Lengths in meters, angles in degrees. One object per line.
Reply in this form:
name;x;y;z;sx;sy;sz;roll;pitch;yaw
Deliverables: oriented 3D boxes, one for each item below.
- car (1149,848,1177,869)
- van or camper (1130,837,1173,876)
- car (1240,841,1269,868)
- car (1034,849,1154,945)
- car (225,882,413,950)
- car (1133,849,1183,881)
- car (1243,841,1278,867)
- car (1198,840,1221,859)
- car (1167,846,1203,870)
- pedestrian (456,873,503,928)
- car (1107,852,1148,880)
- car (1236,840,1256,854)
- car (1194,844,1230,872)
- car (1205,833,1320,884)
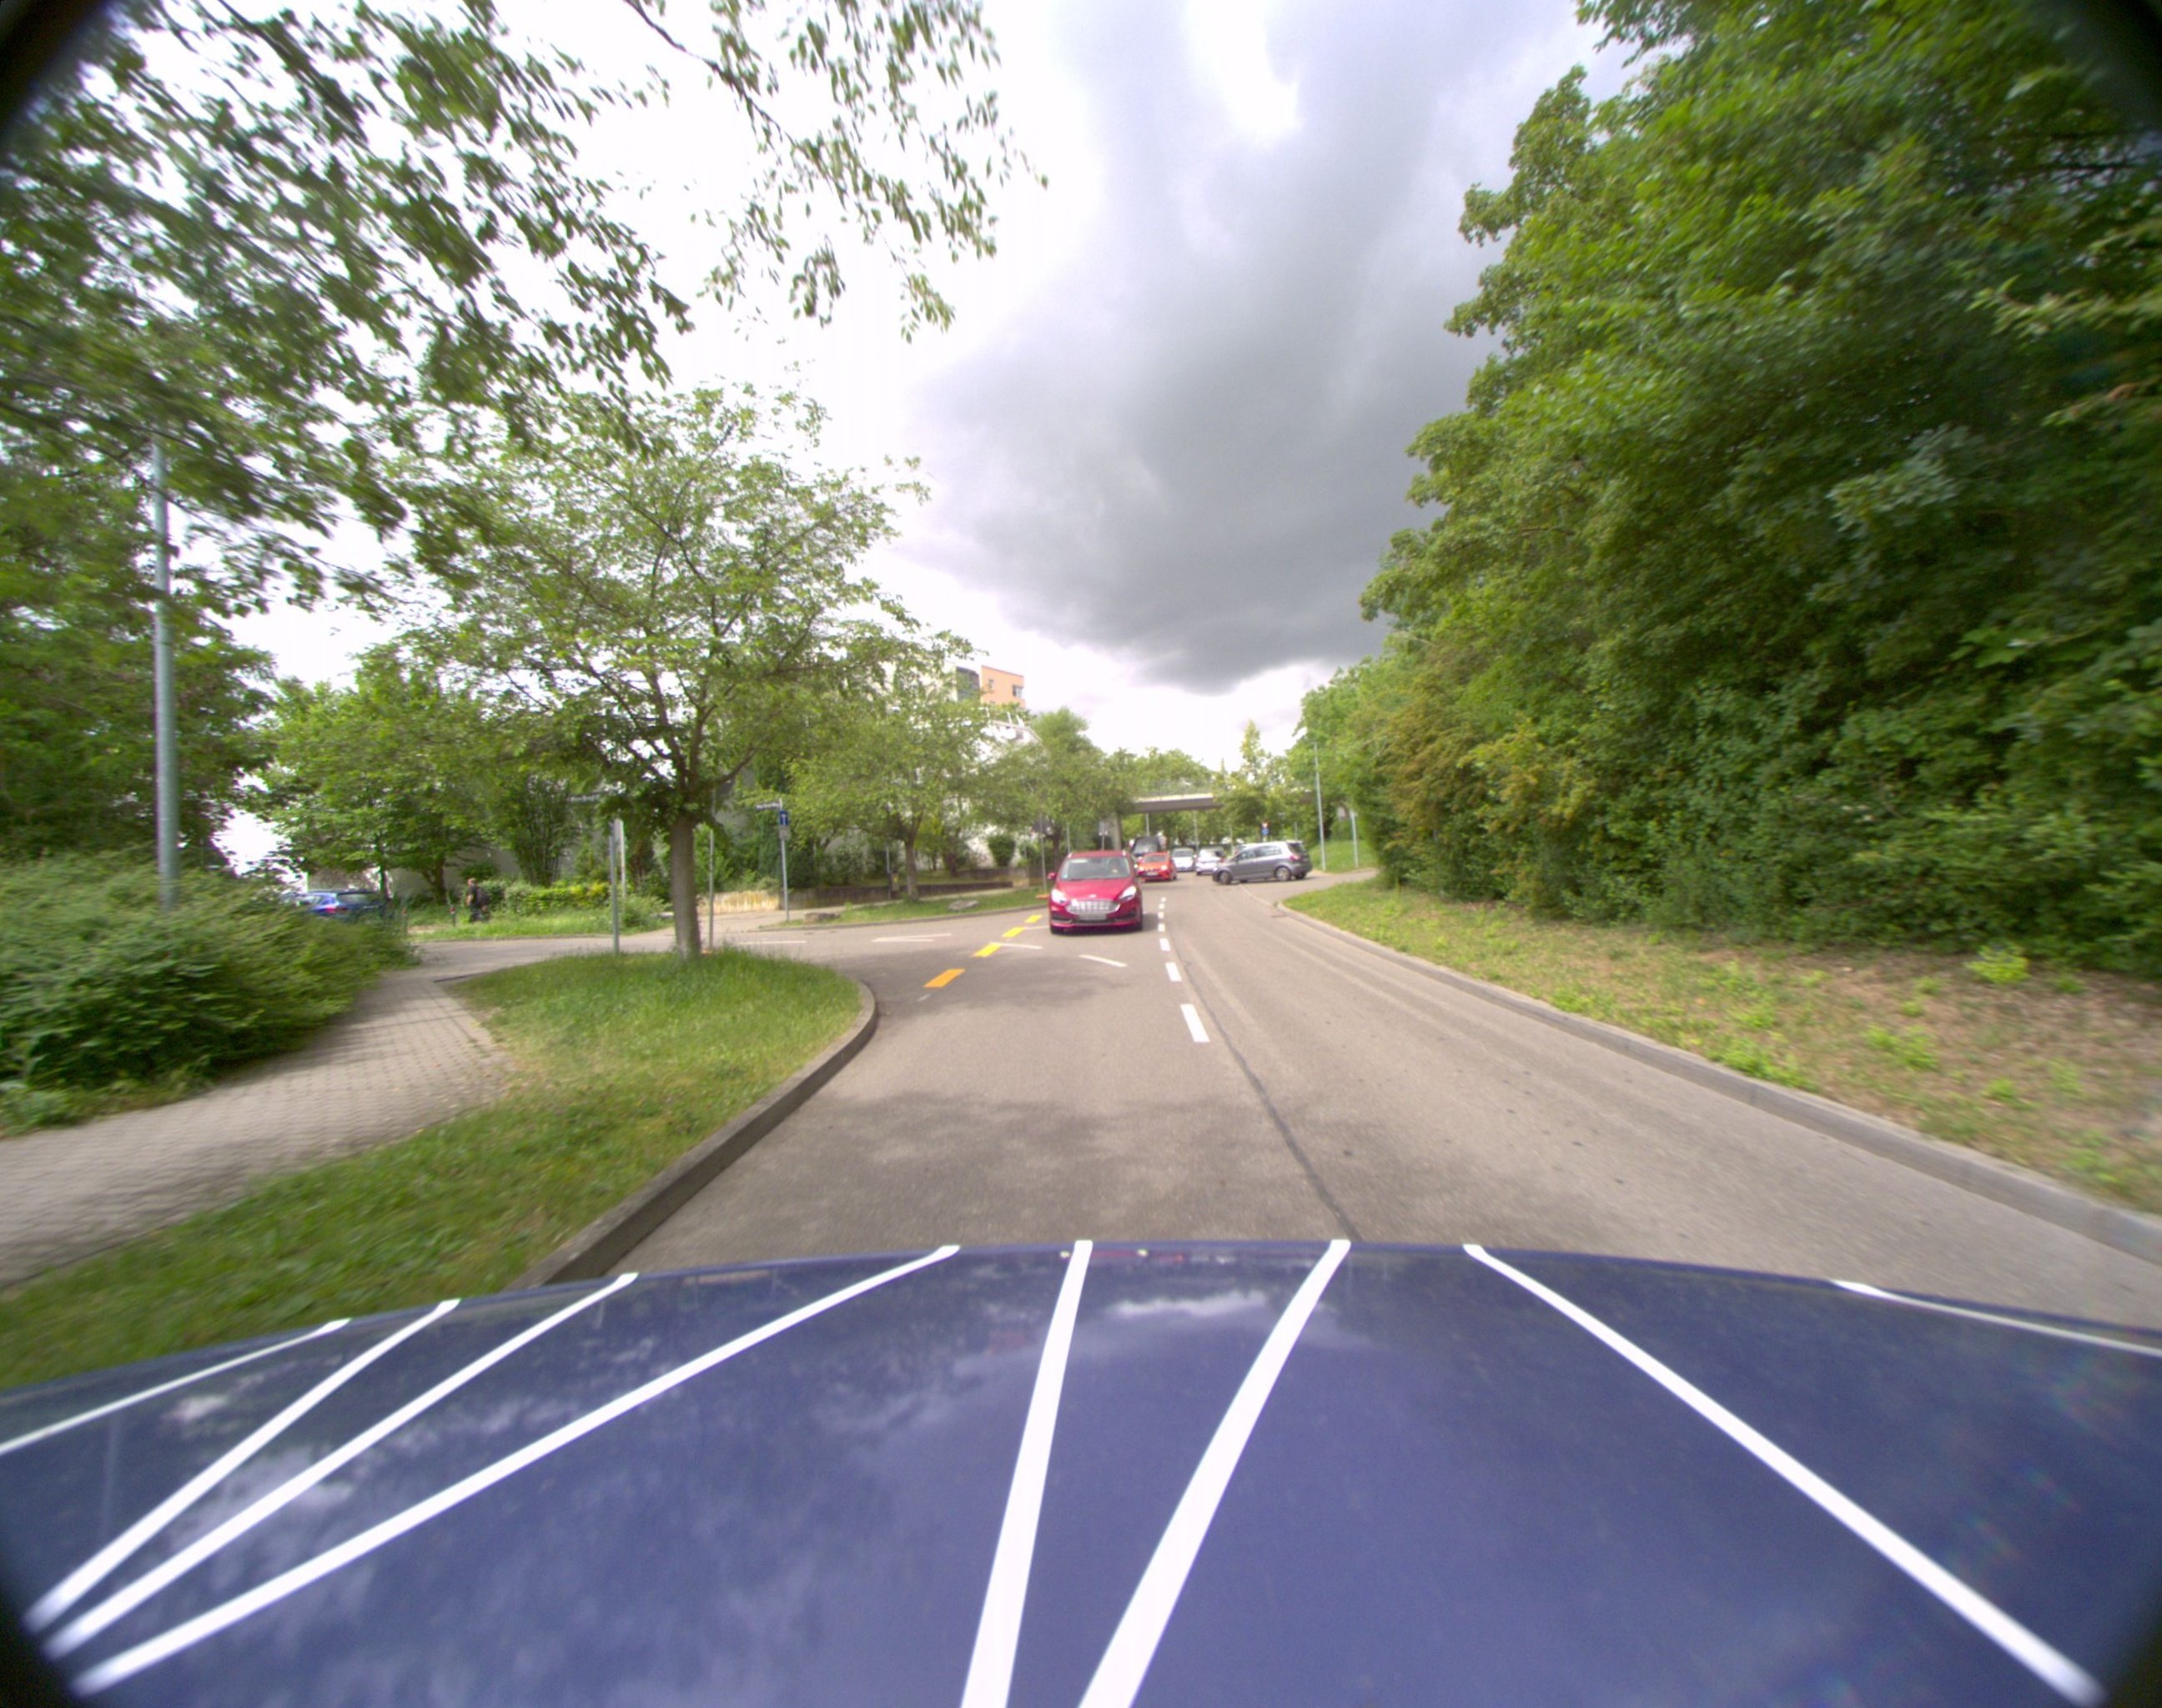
car;6.409;0.320;59.147;1.585;1.441;3.725;-3;1;15
van or camper;5.085;0.105;53.964;1.996;2.481;5.763;-3;1;15
car;11.563;0.007;50.507;1.596;1.575;2.688;-7;0;16
car;0.407;0.778;15.520;1.811;1.600;3.724;-2;1;10
car;-21.947;1.767;21.951;3.994;1.652;1.729;-3;1;9
car;3.958;0.510;38.646;1.860;1.434;4.004;-3;0;15
car;10.963;-0.004;46.273;1.811;1.397;4.052;-3;1;16
car;11.635;-0.386;68.610;1.778;1.411;4.005;5;0;12
car;7.171;0.252;51.975;1.778;1.443;4.004;-3;1;17
pedestrian;-19.920;1.536;25.180;0.834;1.727;0.786;-3;1;9
car;2.703;0.637;43.505;1.693;1.412;4.003;-2;0;13
car;17.254;-0.734;79.292;1.754;1.411;4.372;-2;0;14
car;7.683;0.226;44.338;1.844;1.447;3.655;-3;1;12
car;7.424;0.201;31.284;4.110;1.652;1.761;-5;1;37
